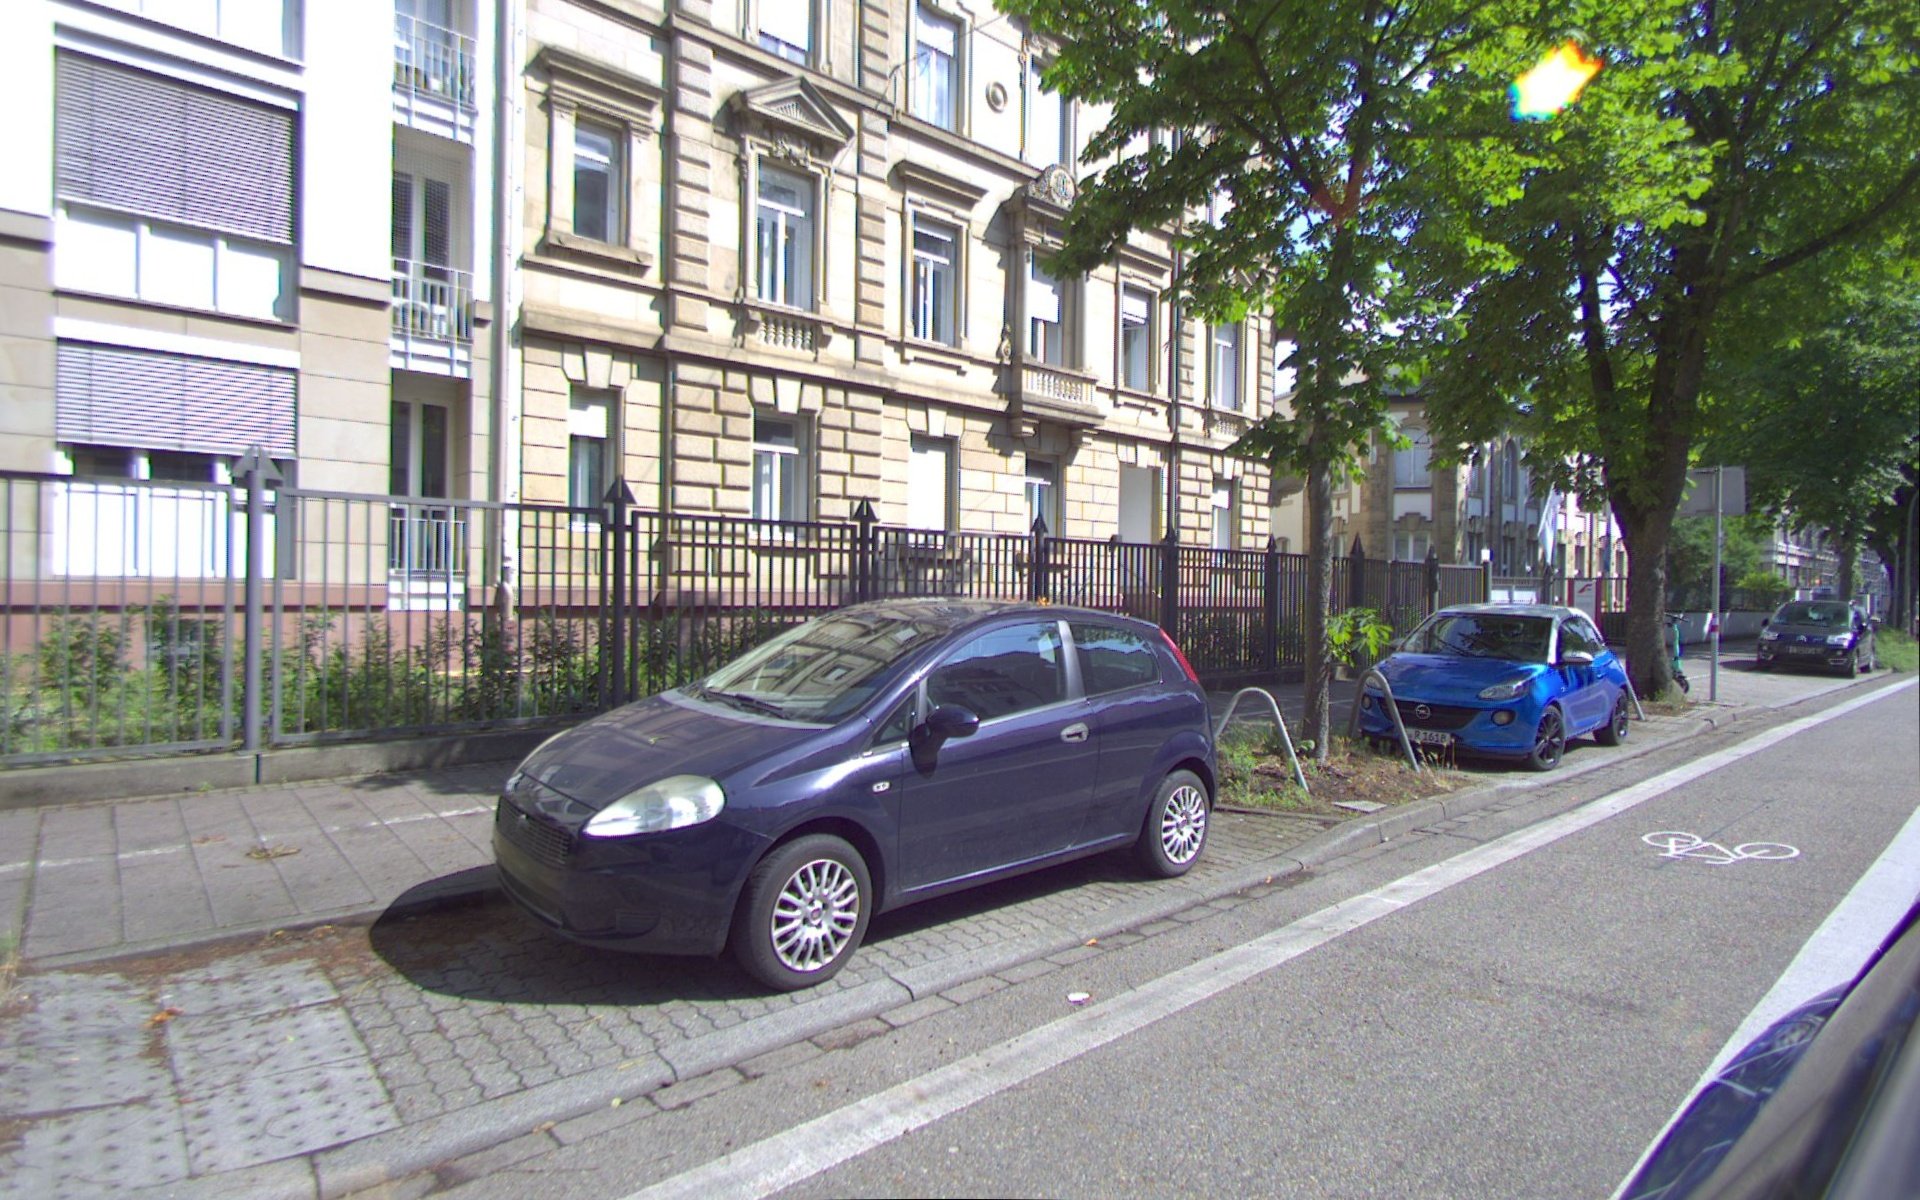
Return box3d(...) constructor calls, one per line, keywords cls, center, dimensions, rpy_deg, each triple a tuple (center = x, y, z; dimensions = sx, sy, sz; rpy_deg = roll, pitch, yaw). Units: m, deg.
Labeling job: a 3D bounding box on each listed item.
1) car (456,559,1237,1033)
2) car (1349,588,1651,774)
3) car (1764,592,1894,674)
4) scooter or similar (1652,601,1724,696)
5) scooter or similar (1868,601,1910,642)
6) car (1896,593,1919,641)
box3d(cls="car", center=(-0.325, 0.634, 5.163), dimensions=(3.694, 1.514, 1.642), rpy_deg=(1, 2, -44))
box3d(cls="car", center=(5.633, 0.678, 10.396), dimensions=(3.566, 1.514, 1.642), rpy_deg=(0, 2, -43))
box3d(cls="car", center=(19.557, 0.654, 22.727), dimensions=(4.132, 1.610, 1.699), rpy_deg=(0, 3, -43))
box3d(cls="scooter or similar", center=(10.834, 0.696, 15.092), dimensions=(0.436, 1.315, 1.175), rpy_deg=(4, 1, 17))
box3d(cls="scooter or similar", center=(29.940, 0.697, 32.612), dimensions=(1.233, 1.252, 0.343), rpy_deg=(2, 3, -17))
box3d(cls="car", center=(36.236, 0.655, 37.569), dimensions=(4.211, 1.697, 1.878), rpy_deg=(0, 3, -44))
